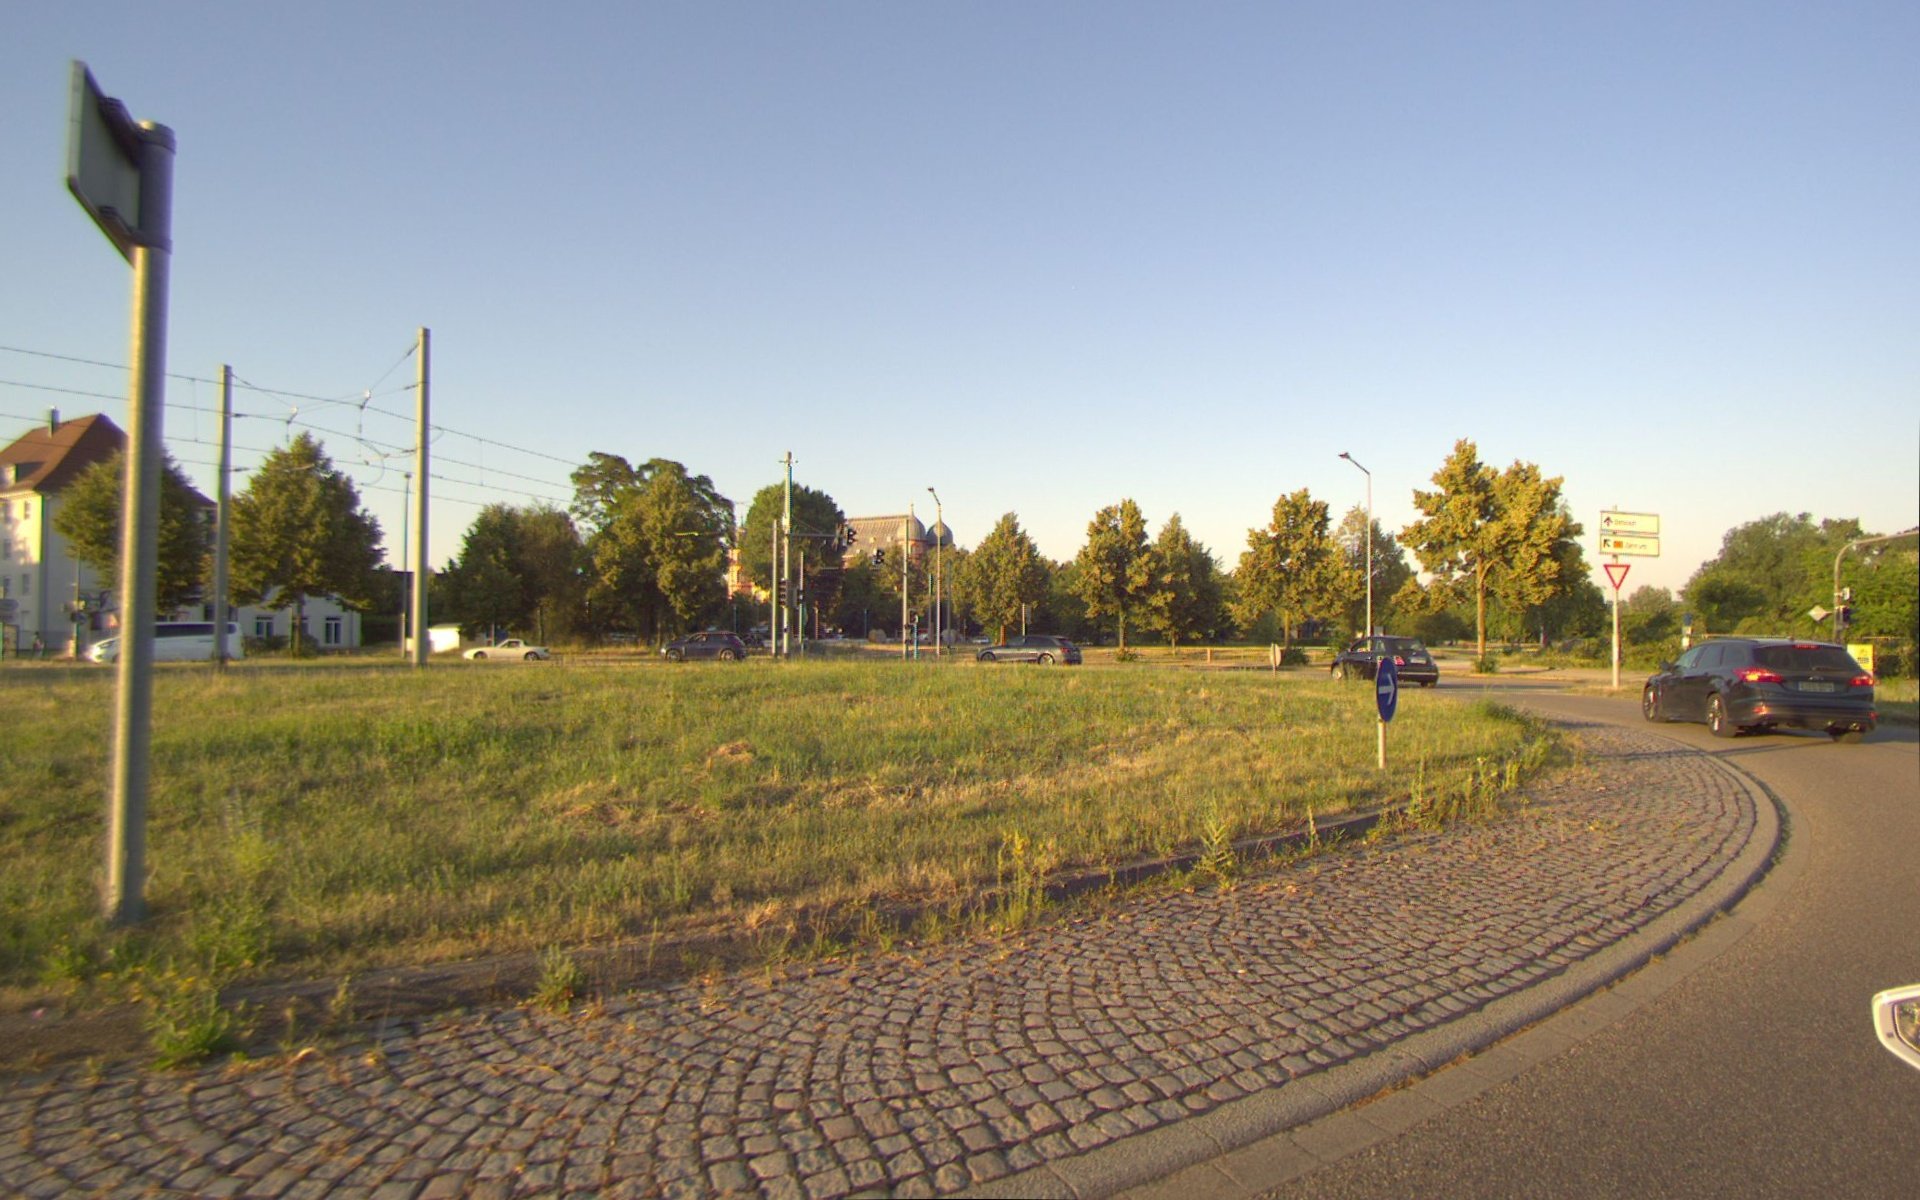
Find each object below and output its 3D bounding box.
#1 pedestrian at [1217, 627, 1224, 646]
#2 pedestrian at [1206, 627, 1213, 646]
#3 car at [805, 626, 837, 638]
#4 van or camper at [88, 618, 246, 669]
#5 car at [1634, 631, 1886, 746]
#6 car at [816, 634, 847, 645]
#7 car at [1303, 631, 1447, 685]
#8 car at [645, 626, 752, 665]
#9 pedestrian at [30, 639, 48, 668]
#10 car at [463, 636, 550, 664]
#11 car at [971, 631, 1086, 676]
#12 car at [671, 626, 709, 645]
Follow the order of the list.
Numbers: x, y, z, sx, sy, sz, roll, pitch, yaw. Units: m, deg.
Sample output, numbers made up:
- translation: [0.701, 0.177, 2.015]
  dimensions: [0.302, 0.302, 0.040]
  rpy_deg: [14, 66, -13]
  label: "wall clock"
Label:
- translation: [22.660, 3.201, 87.319]
  dimensions: [0.608, 1.648, 0.530]
  rpy_deg: [0, -1, 18]
  label: "pedestrian"
- translation: [21.812, 3.218, 87.784]
  dimensions: [0.569, 1.648, 0.533]
  rpy_deg: [0, -1, 17]
  label: "pedestrian"
- translation: [-19.117, 4.435, 137.972]
  dimensions: [3.926, 1.571, 1.998]
  rpy_deg: [0, -2, 27]
  label: "car"
- translation: [-34.681, 1.848, 44.048]
  dimensions: [1.889, 2.037, 5.269]
  rpy_deg: [-1, -1, 45]
  label: "van or camper"
- translation: [12.334, 1.273, 15.843]
  dimensions: [1.716, 1.486, 4.136]
  rpy_deg: [1, -1, 17]
  label: "car"
- translation: [-17.996, 5.522, 140.399]
  dimensions: [3.926, 1.571, 1.998]
  rpy_deg: [0, -2, 27]
  label: "car"
- translation: [12.298, 1.680, 30.050]
  dimensions: [1.724, 1.465, 4.118]
  rpy_deg: [0, -1, -19]
  label: "car"
- translation: [-12.086, 2.102, 46.559]
  dimensions: [4.507, 1.771, 1.751]
  rpy_deg: [0, -1, -1]
  label: "car"
- translation: [-52.574, 3.064, 57.340]
  dimensions: [0.556, 1.643, 0.594]
  rpy_deg: [0, -1, 25]
  label: "pedestrian"
- translation: [-22.038, 2.441, 48.951]
  dimensions: [3.722, 1.272, 1.573]
  rpy_deg: [1, 0, -19]
  label: "car"
- translation: [2.869, 2.204, 42.188]
  dimensions: [4.511, 1.771, 1.750]
  rpy_deg: [-1, -1, 26]
  label: "car"
- translation: [-30.953, 4.083, 115.244]
  dimensions: [3.927, 2.126, 1.997]
  rpy_deg: [0, -2, 29]
  label: "car"
